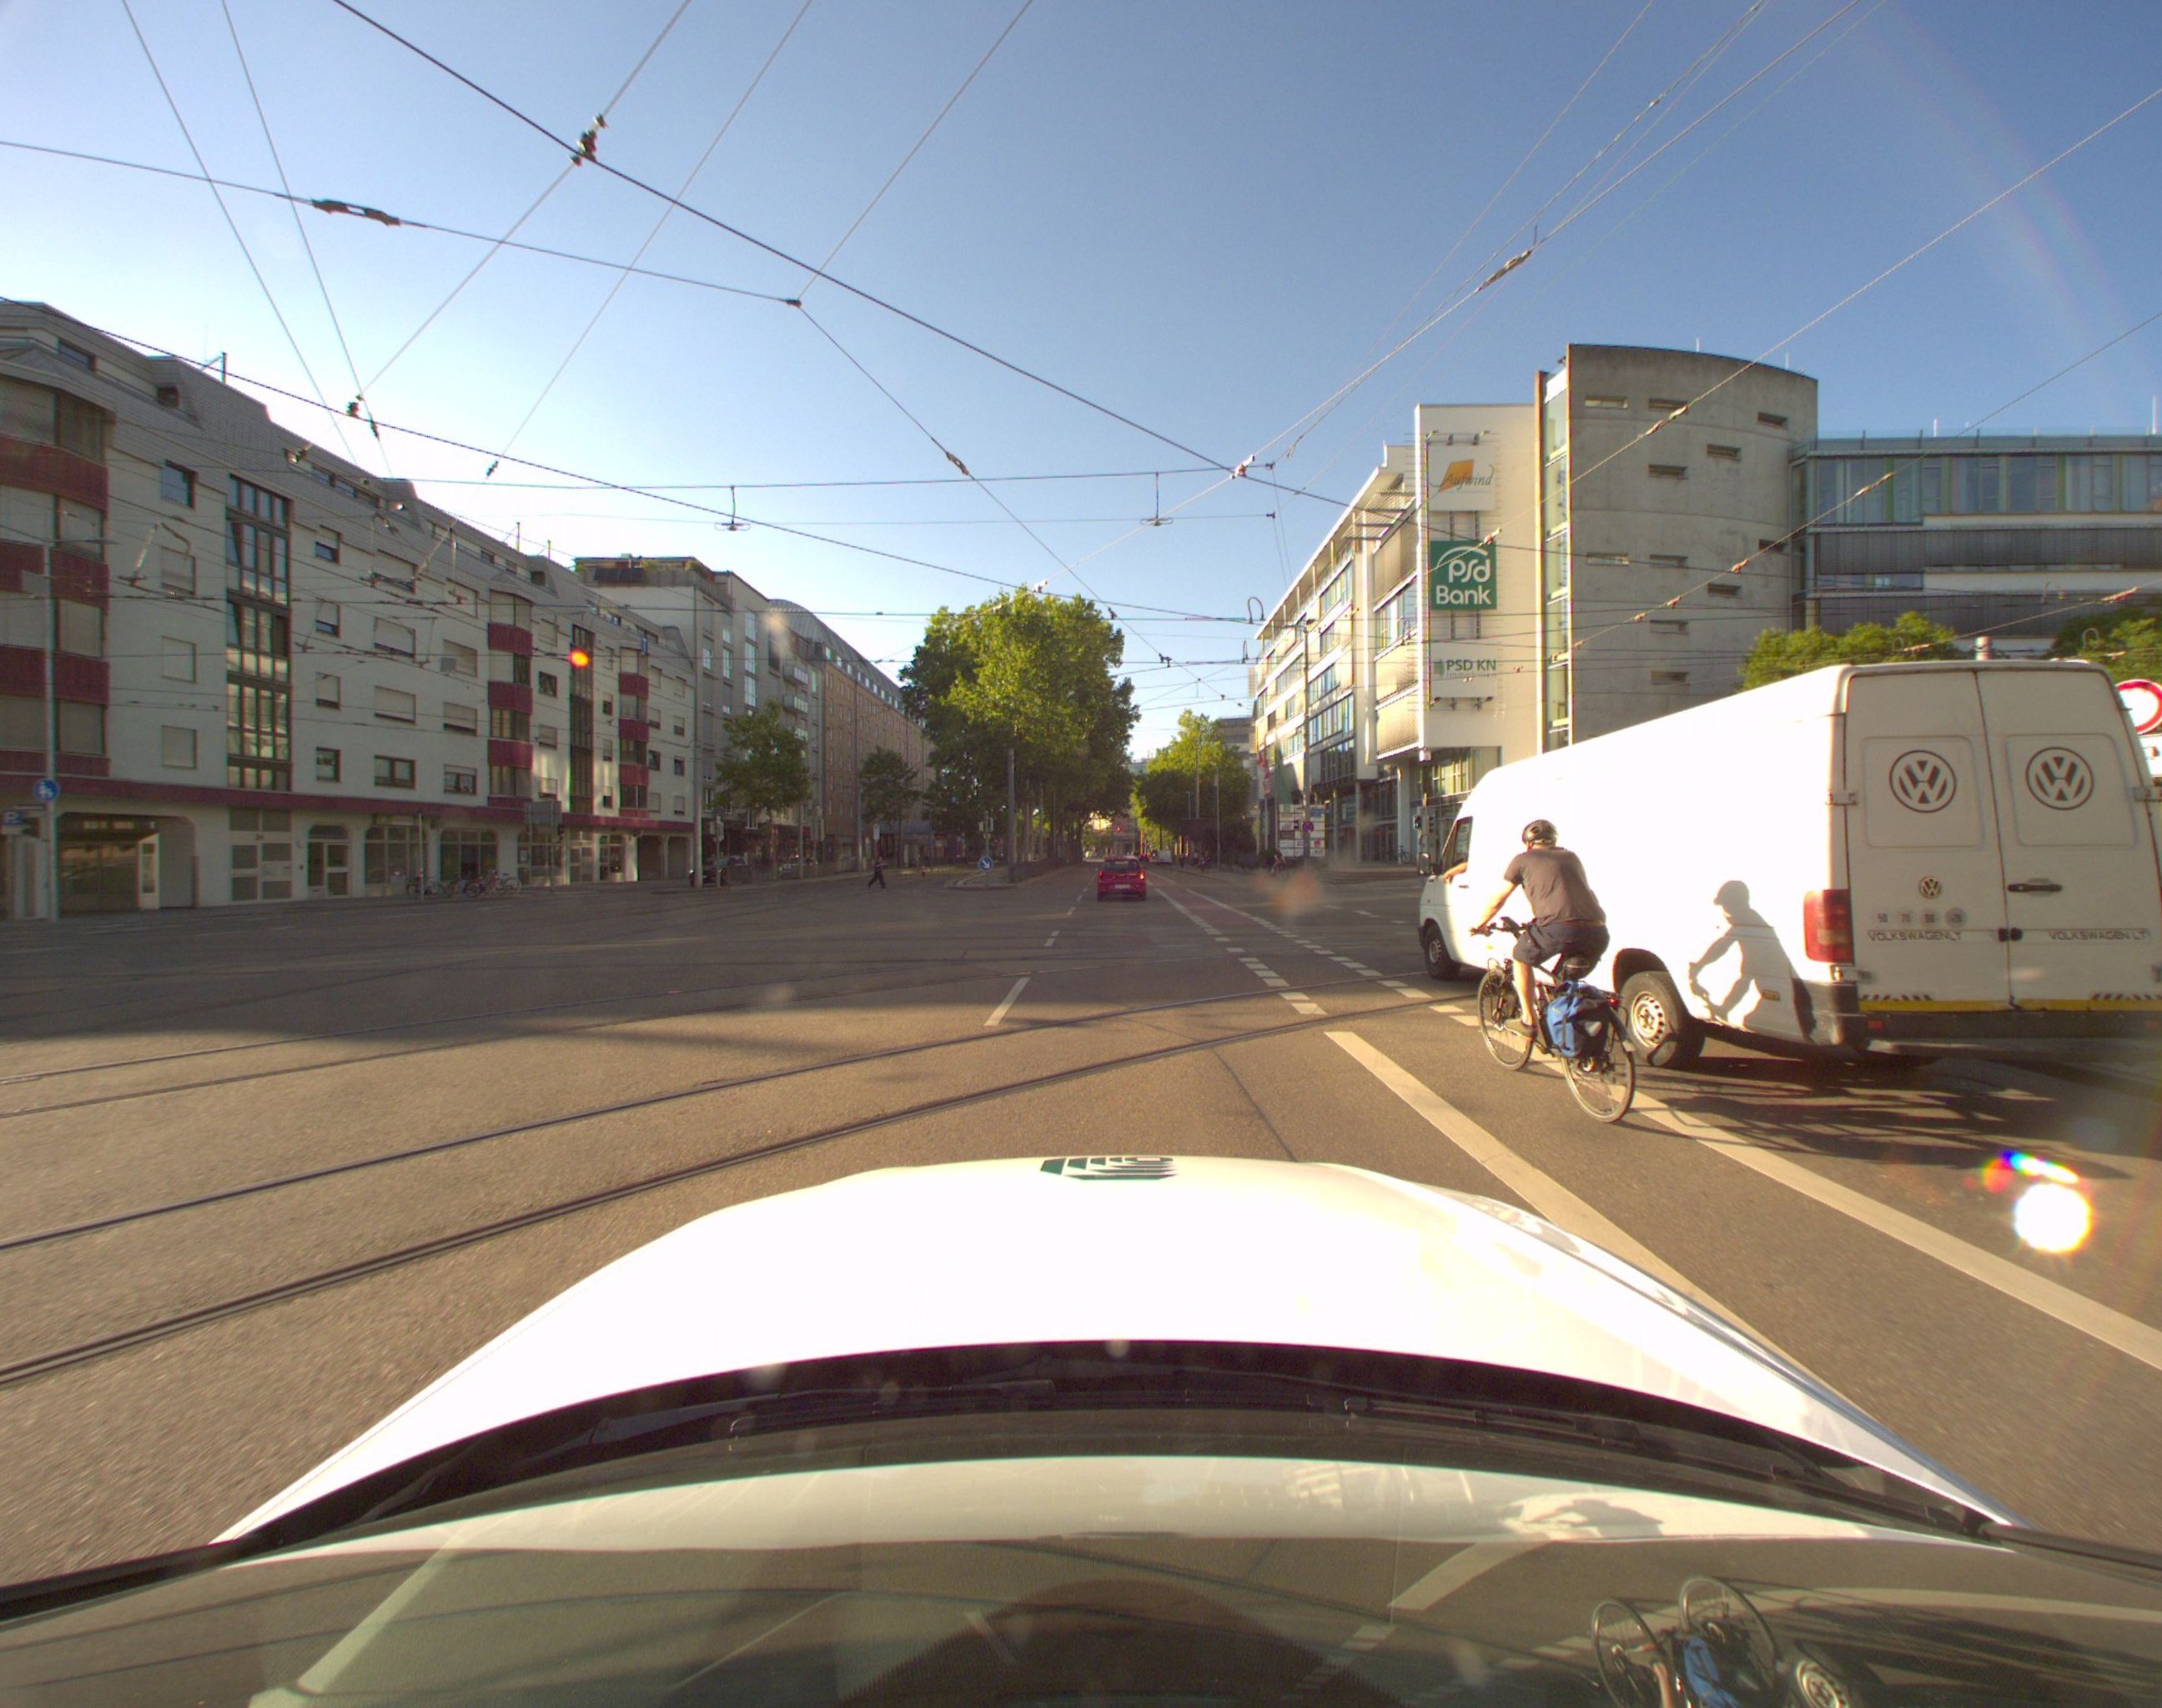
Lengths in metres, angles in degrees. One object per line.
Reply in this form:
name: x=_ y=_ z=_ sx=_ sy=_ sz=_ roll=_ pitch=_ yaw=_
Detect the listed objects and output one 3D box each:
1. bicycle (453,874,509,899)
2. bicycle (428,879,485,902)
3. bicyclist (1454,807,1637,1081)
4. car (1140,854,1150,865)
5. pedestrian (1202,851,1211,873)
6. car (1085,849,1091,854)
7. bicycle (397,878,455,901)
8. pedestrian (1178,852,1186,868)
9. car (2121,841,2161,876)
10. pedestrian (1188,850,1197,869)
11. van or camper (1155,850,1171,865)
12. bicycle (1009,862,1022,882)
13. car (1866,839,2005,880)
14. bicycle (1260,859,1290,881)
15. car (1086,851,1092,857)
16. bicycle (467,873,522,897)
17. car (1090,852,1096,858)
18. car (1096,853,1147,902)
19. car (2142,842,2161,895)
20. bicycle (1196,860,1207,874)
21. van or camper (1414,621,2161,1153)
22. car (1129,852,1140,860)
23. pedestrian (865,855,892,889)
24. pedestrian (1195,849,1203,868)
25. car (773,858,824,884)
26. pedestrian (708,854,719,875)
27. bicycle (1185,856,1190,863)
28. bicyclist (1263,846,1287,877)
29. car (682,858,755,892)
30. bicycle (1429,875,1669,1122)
bicycle: x=-24.472 y=1.337 z=33.212 sx=1.837 sy=0.985 sz=0.553 roll=0 pitch=0 yaw=-1
bicycle: x=-24.483 y=1.428 z=31.937 sx=1.835 sy=0.854 sz=0.554 roll=0 pitch=0 yaw=3
bicyclist: x=2.975 y=0.524 z=5.329 sx=0.646 sy=1.603 sz=1.091 roll=-1 pitch=0 yaw=6
car: x=10.844 y=0.873 z=138.435 sx=1.628 sy=1.800 sz=3.333 roll=-1 pitch=0 yaw=4
pedestrian: x=9.782 y=0.602 z=63.429 sx=0.644 sy=1.680 sz=0.651 roll=-1 pitch=0 yaw=1
car: x=2.166 y=-0.739 z=248.237 sx=1.773 sy=1.588 sz=3.408 roll=0 pitch=0 yaw=-3
bicycle: x=-25.104 y=1.363 z=31.224 sx=1.835 sy=0.854 sz=0.554 roll=0 pitch=0 yaw=3
pedestrian: x=10.084 y=0.605 z=81.450 sx=0.640 sy=1.579 sz=0.723 roll=-4 pitch=0 yaw=-2
car: x=48.663 y=0.187 z=35.409 sx=4.373 sy=1.495 sz=1.988 roll=-1 pitch=0 yaw=0
pedestrian: x=10.641 y=0.520 z=77.828 sx=0.562 sy=1.702 sz=0.906 roll=-4 pitch=0 yaw=0
van or camper: x=11.119 y=0.469 z=110.302 sx=1.985 sy=1.989 sz=4.748 roll=0 pitch=0 yaw=3
bicycle: x=-3.421 y=0.938 z=42.331 sx=0.393 sy=0.949 sz=1.354 roll=-1 pitch=2 yaw=7
car: x=37.186 y=0.238 z=35.519 sx=3.973 sy=1.695 sz=1.988 roll=-1 pitch=0 yaw=0
bicycle: x=10.480 y=0.861 z=44.080 sx=0.699 sy=1.098 sz=1.738 roll=-4 pitch=0 yaw=-21
car: x=2.393 y=0.001 z=242.216 sx=1.773 sy=1.534 sz=3.408 roll=0 pitch=0 yaw=-3
bicycle: x=-24.336 y=1.279 z=33.817 sx=1.837 sy=0.985 sz=0.553 roll=0 pitch=0 yaw=-1
car: x=3.481 y=0.252 z=235.597 sx=1.773 sy=1.534 sz=3.408 roll=0 pitch=0 yaw=-3
car: x=1.362 y=0.761 z=27.756 sx=1.607 sy=1.534 sz=3.413 roll=0 pitch=0 yaw=2
car: x=35.135 y=0.425 z=24.447 sx=3.973 sy=1.612 sz=2.000 roll=-1 pitch=0 yaw=0
bicycle: x=9.353 y=1.006 z=63.383 sx=0.519 sy=0.975 sz=2.202 roll=-4 pitch=1 yaw=1
van or camper: x=5.096 y=0.145 z=7.333 sx=1.960 sy=2.716 sz=6.311 roll=1 pitch=0 yaw=3
car: x=10.136 y=0.372 z=153.726 sx=1.773 sy=1.534 sz=3.508 roll=0 pitch=0 yaw=-3
pedestrian: x=-9.397 y=0.839 z=37.857 sx=1.041 sy=1.544 sz=0.695 roll=-1 pitch=0 yaw=4
pedestrian: x=11.310 y=0.430 z=77.822 sx=0.539 sy=1.796 sz=0.906 roll=-4 pitch=0 yaw=0
car: x=-19.325 y=1.127 z=55.869 sx=1.948 sy=1.595 sz=4.262 roll=0 pitch=0 yaw=1
pedestrian: x=-26.867 y=0.767 z=59.581 sx=0.533 sy=1.494 sz=0.587 roll=-1 pitch=0 yaw=-2
bicycle: x=15.131 y=0.757 z=115.668 sx=0.583 sy=1.067 sz=1.900 roll=-1 pitch=0 yaw=1
bicyclist: x=10.478 y=0.403 z=44.017 sx=0.725 sy=1.603 sz=1.081 roll=-3 pitch=0 yaw=-22
car: x=-19.650 y=1.090 z=44.365 sx=1.948 sy=1.672 sz=4.262 roll=0 pitch=0 yaw=1
bicycle: x=2.969 y=0.811 z=5.424 sx=0.646 sy=1.281 sz=1.969 roll=-1 pitch=0 yaw=6
